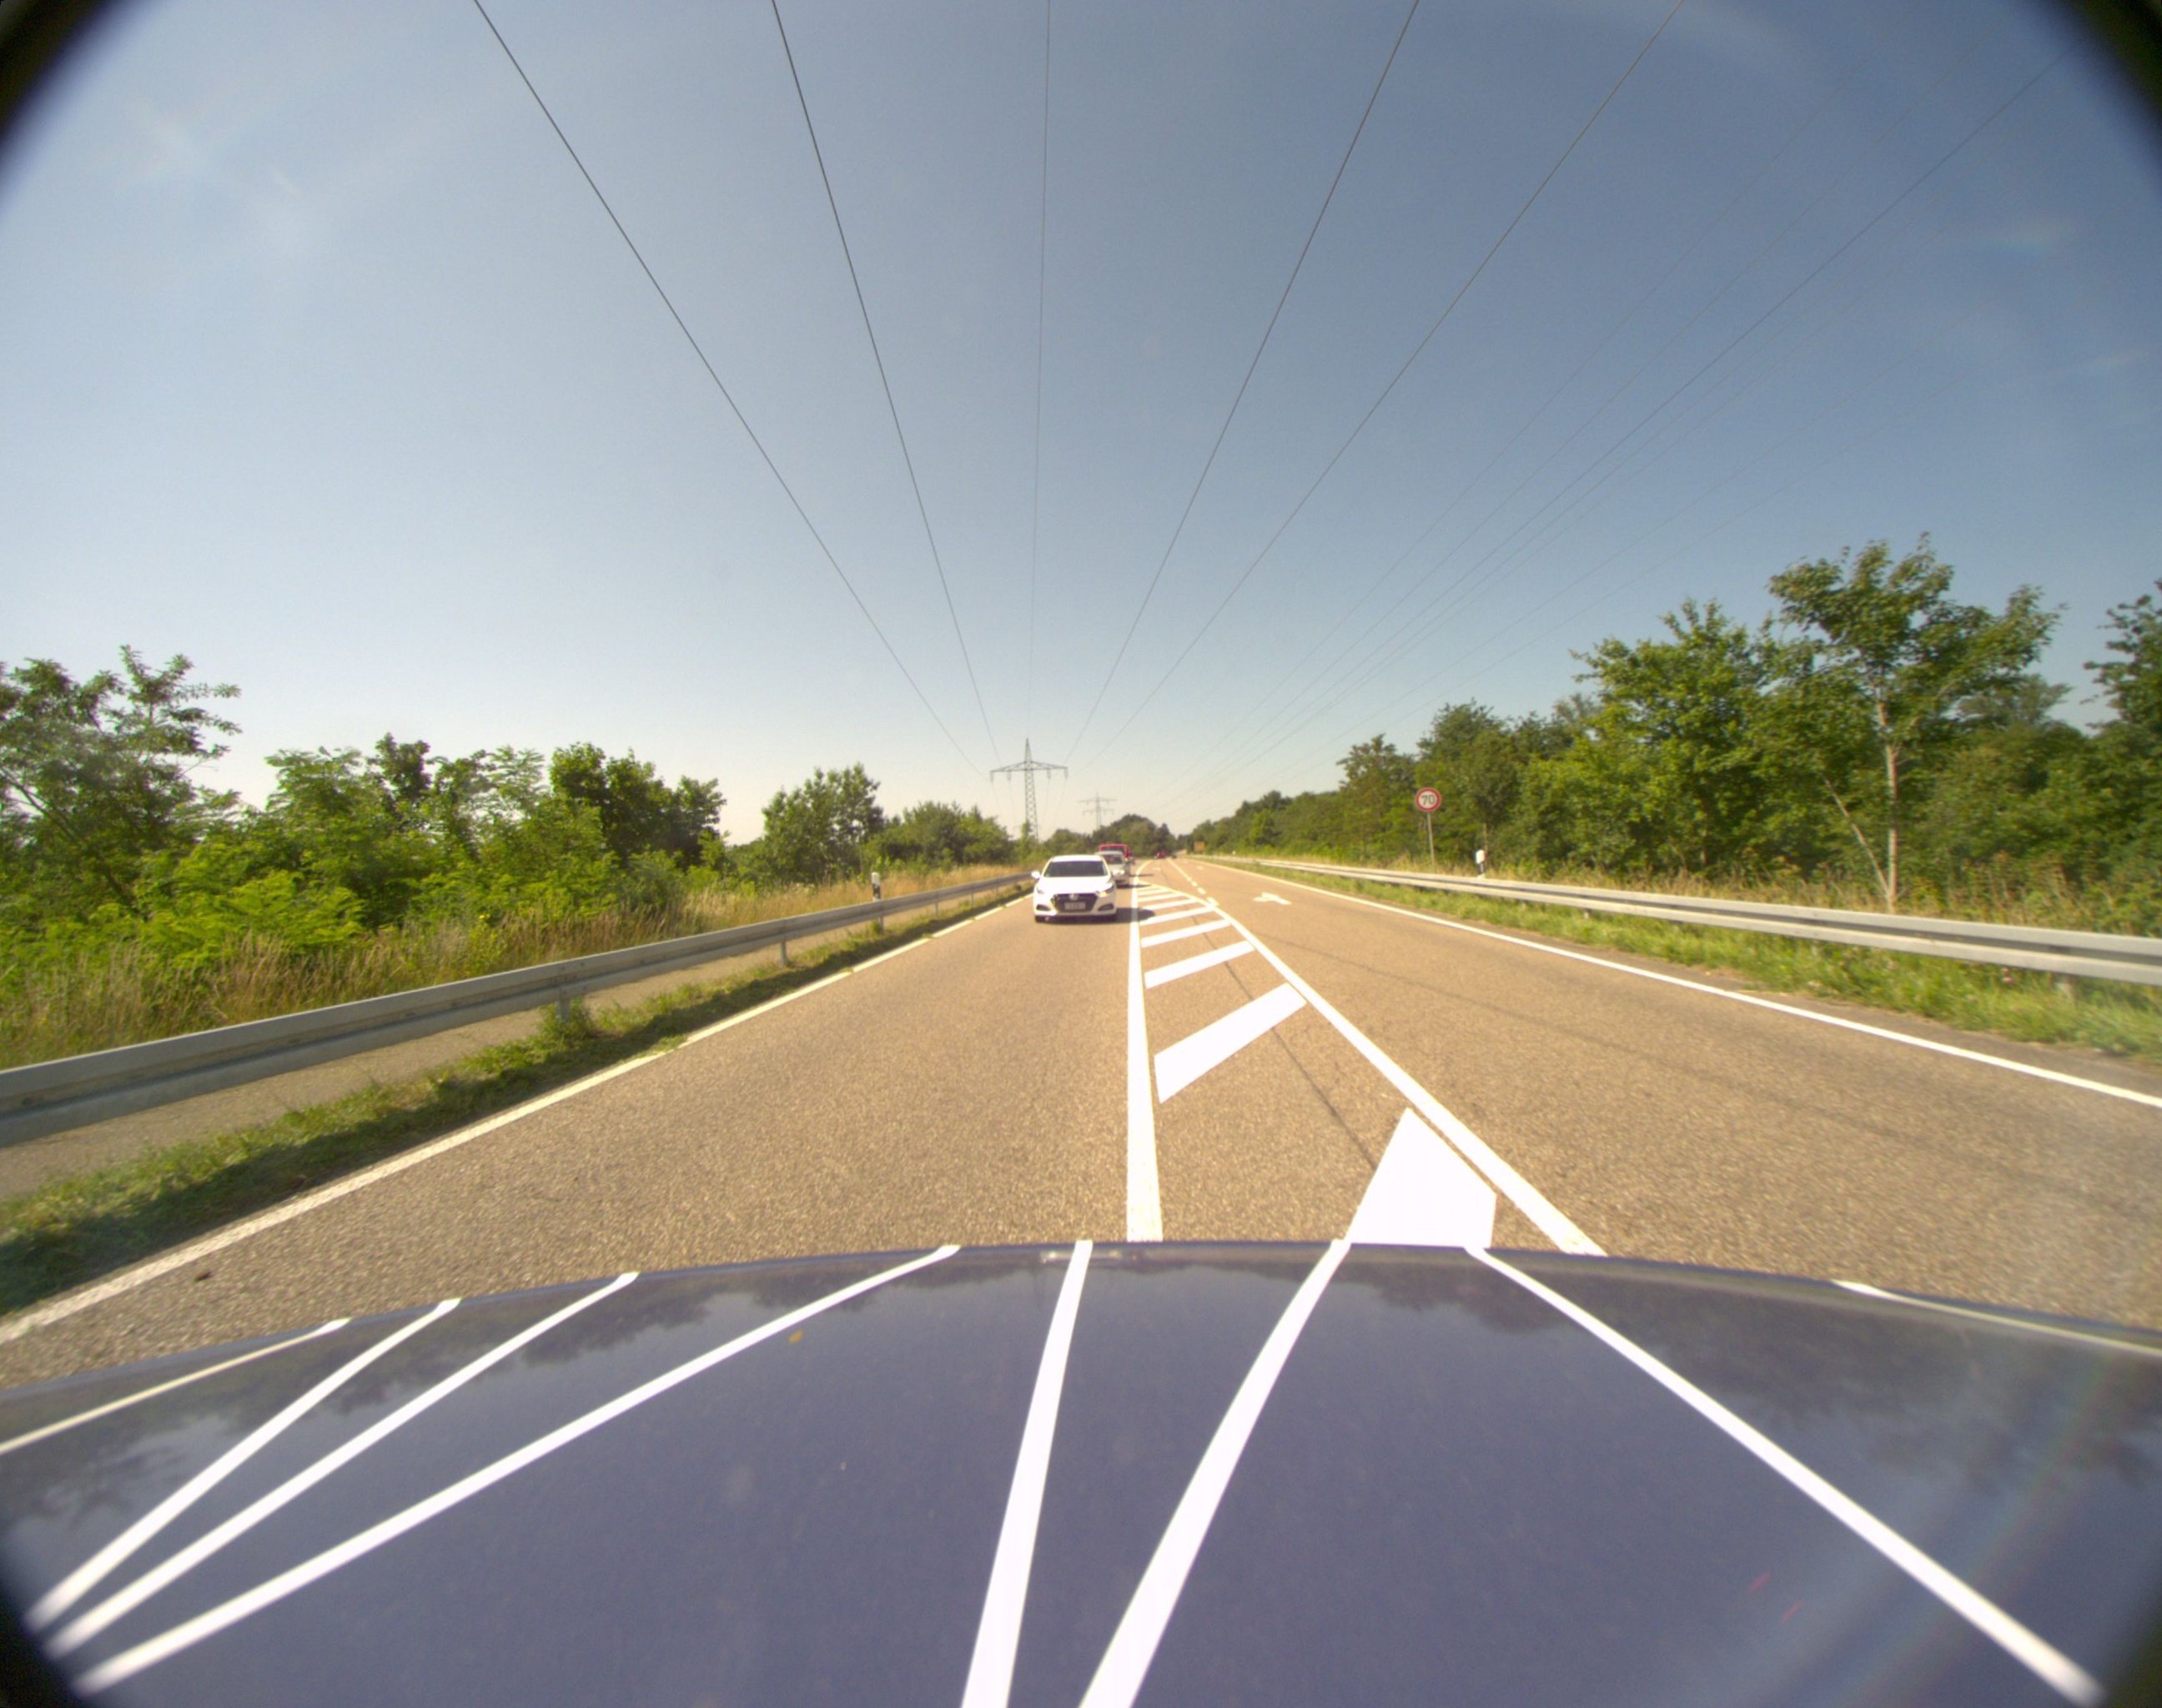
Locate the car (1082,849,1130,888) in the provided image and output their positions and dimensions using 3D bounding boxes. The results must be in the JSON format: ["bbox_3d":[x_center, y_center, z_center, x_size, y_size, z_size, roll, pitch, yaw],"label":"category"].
[{"bbox_3d":[1.128,0.590,33.461,1.922,1.540,4.794,-2,0,3],"label":"car"}]

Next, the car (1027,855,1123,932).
[{"bbox_3d":[-0.011,0.816,18.060,1.922,1.496,4.794,-2,0,3],"label":"car"}]

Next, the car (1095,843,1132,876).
[{"bbox_3d":[2.078,0.305,48.024,2.126,1.934,5.019,-2,0,3],"label":"car"}]

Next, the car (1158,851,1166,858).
[{"bbox_3d":[18.779,0.147,176.794,1.833,1.574,4.001,0,1,4],"label":"car"}]
